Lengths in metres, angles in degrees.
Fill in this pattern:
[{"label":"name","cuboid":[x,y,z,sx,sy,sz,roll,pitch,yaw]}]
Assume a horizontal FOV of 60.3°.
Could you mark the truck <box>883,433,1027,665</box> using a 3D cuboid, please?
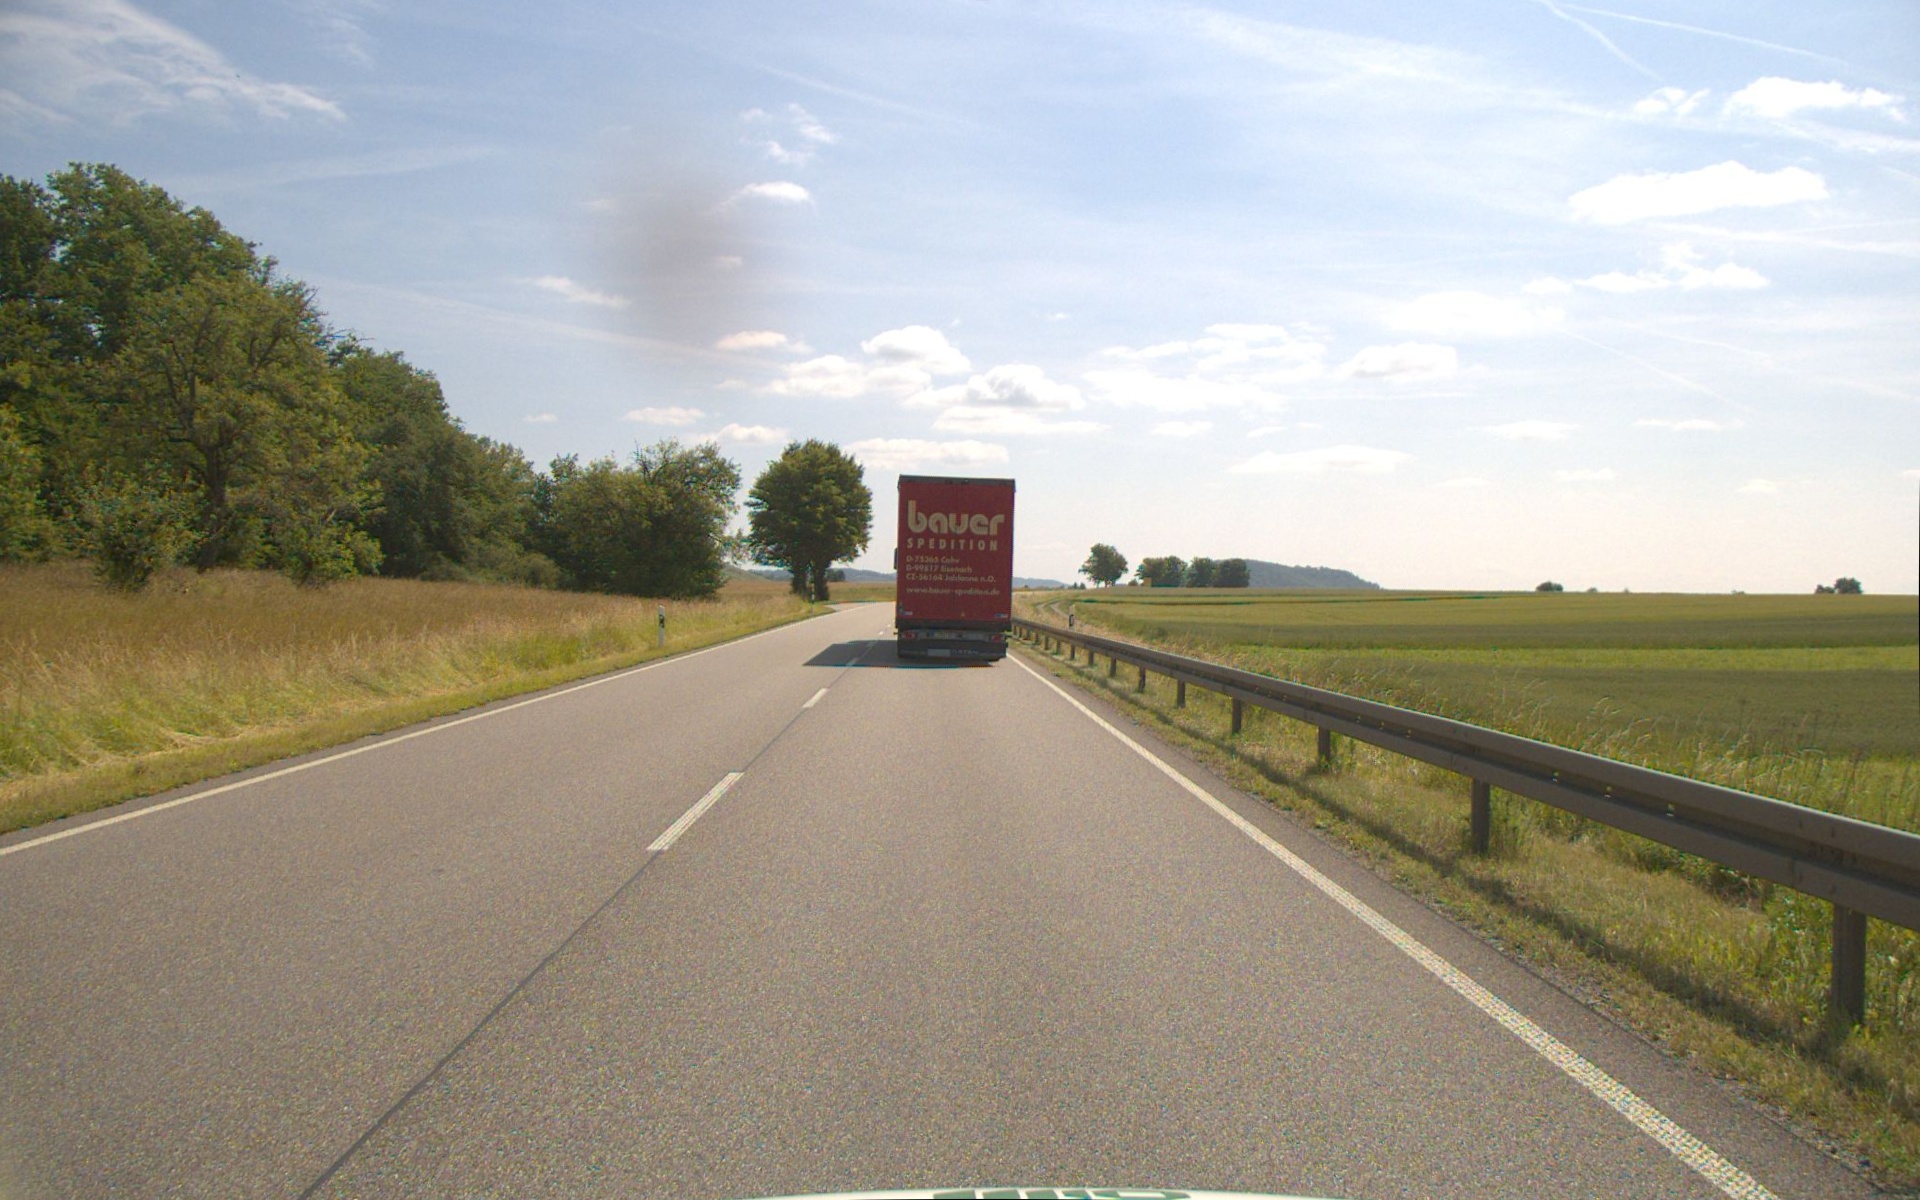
[{"label":"truck","cuboid":[-0.253,-1.043,39.514,2.915,4.796,9.362,2,-1,-2]}]
